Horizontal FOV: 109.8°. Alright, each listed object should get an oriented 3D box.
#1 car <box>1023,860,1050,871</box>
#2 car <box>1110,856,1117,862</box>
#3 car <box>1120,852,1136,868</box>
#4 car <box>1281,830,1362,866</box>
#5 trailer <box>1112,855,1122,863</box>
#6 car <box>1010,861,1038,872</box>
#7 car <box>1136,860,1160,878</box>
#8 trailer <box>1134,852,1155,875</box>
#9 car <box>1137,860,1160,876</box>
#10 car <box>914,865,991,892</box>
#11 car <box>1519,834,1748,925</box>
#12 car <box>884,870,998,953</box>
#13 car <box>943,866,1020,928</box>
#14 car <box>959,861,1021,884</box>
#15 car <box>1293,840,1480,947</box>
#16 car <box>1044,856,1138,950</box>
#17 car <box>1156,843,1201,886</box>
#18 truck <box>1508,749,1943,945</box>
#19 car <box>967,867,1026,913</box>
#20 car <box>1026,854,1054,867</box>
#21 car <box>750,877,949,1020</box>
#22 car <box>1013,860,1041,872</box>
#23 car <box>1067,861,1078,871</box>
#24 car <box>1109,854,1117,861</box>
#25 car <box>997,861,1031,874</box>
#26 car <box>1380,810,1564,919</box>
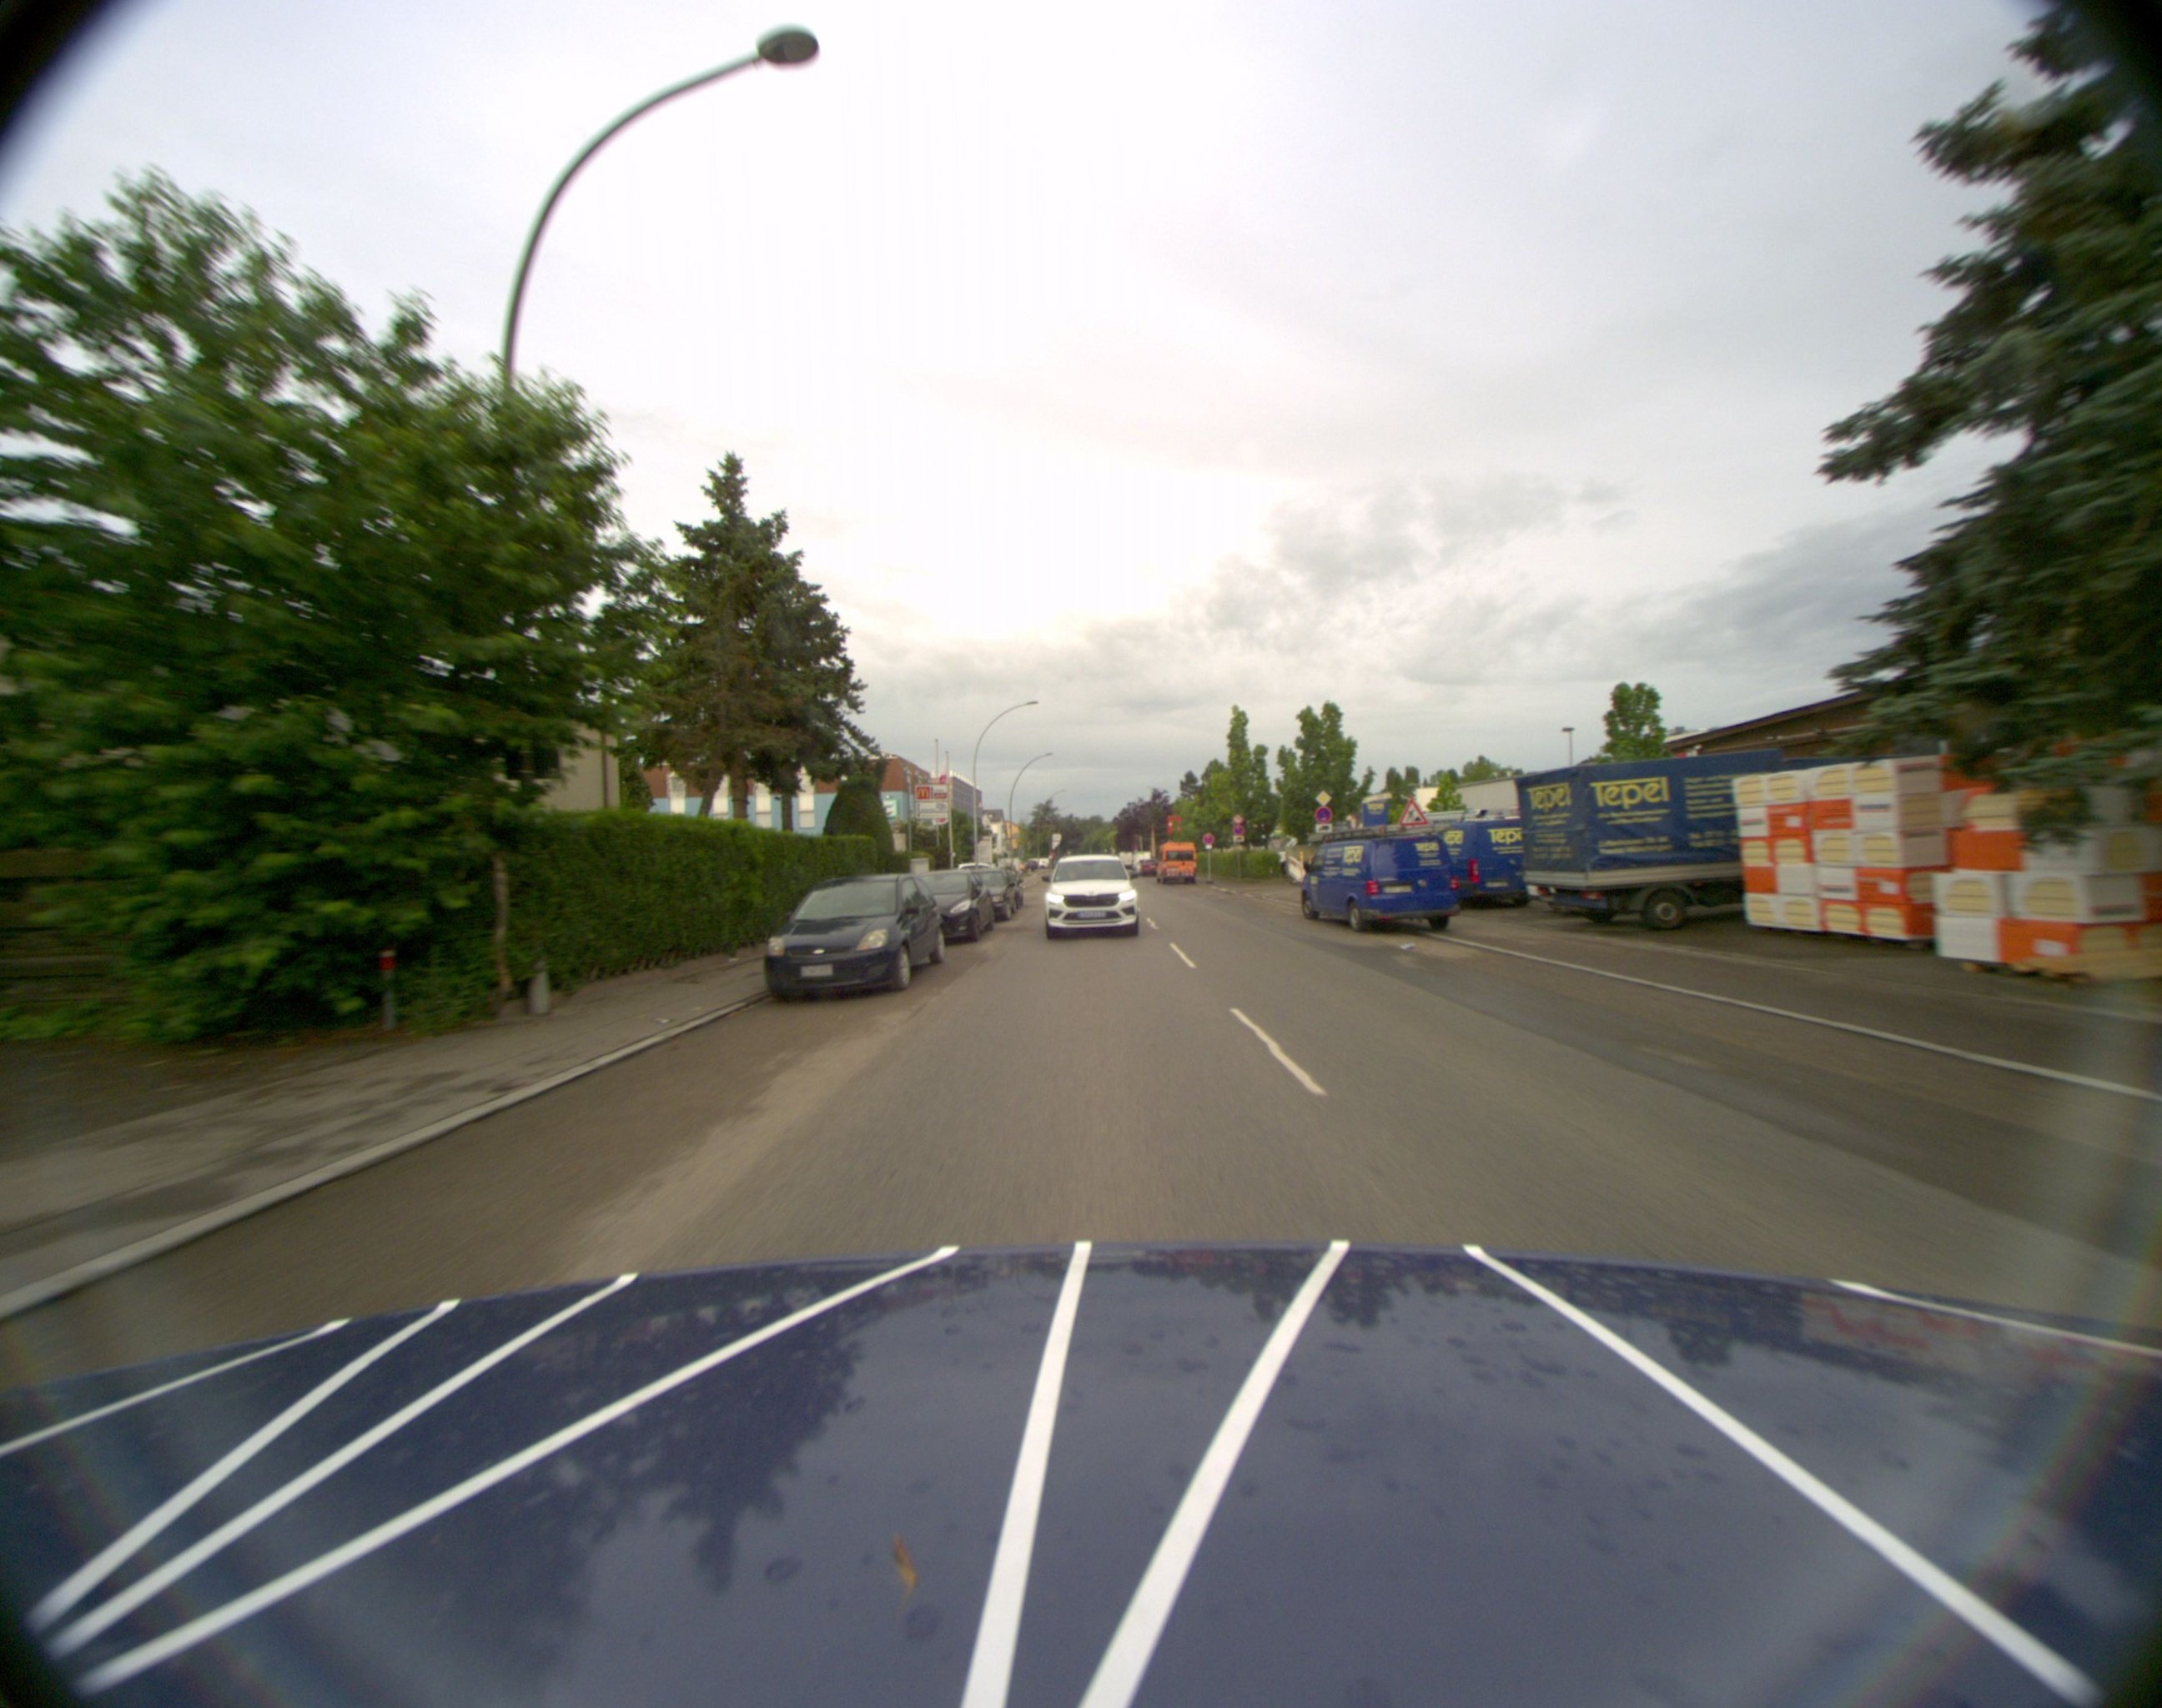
[{"bbox_3d":[-7.554,1.958,128.953,4.456,1.615,1.893,-3,1,0],"label":"car"},{"bbox_3d":[8.353,1.214,194.975,1.821,1.419,4.981,-1,0,1],"label":"car"},{"bbox_3d":[7.175,0.891,116.007,2.163,2.413,6.459,1,0,1],"label":"car"},{"bbox_3d":[14.938,-0.374,47.429,4.317,2.002,2.063,-3,1,1],"label":"car"},{"bbox_3d":[8.232,1.069,174.356,1.934,1.755,4.548,-2,0,1],"label":"trailer"},{"bbox_3d":[-8.703,1.905,115.568,3.976,1.481,1.833,-3,0,2],"label":"car"},{"bbox_3d":[6.052,1.335,68.774,1.810,1.564,4.342,-1,0,0],"label":"car"},{"bbox_3d":[6.614,0.965,80.126,1.817,2.300,4.730,0,0,0],"label":"trailer"},{"bbox_3d":[6.546,1.334,74.178,1.777,1.490,4.137,-2,-1,0],"label":"car"},{"bbox_3d":[-7.361,1.413,43.741,3.996,1.259,1.951,-3,1,3],"label":"car"},{"bbox_3d":[12.157,0.541,16.909,3.718,1.740,1.778,-3,1,2],"label":"car"},{"bbox_3d":[-2.844,1.121,16.211,1.661,1.440,3.829,-3,0,0],"label":"car"},{"bbox_3d":[-2.735,1.130,21.877,1.661,1.411,4.776,-3,0,-2],"label":"car"},{"bbox_3d":[-6.801,1.381,56.955,4.349,1.467,1.902,-3,1,0],"label":"car"},{"bbox_3d":[6.565,0.751,17.160,1.998,1.936,5.365,-3,0,0],"label":"car"},{"bbox_3d":[0.141,0.939,16.407,1.692,1.651,3.999,-3,0,-1],"label":"car"},{"bbox_3d":[6.217,0.658,49.028,2.130,2.522,6.022,-2,0,1],"label":"car"},{"bbox_3d":[11.738,-0.121,14.263,5.926,3.055,2.449,-3,1,1],"label":"truck"},{"bbox_3d":[-2.893,1.216,26.762,1.594,1.333,4.092,-4,0,-1],"label":"car"},{"bbox_3d":[-7.189,1.126,134.213,4.743,1.875,2.000,-3,1,1],"label":"car"},{"bbox_3d":[-2.951,1.134,10.512,1.490,1.430,3.807,-3,0,0],"label":"car"},{"bbox_3d":[-8.368,1.815,117.867,4.237,1.665,1.980,-3,1,-1],"label":"car"},{"bbox_3d":[-1.495,1.992,129.389,1.743,1.458,4.545,-3,0,0],"label":"car"},{"bbox_3d":[8.353,0.949,200.411,1.898,1.881,5.210,-1,0,1],"label":"car"},{"bbox_3d":[-8.201,1.602,93.188,3.997,1.422,1.630,-2,0,-1],"label":"car"},{"bbox_3d":[10.759,0.231,21.643,2.080,2.552,6.201,-3,0,1],"label":"car"}]
